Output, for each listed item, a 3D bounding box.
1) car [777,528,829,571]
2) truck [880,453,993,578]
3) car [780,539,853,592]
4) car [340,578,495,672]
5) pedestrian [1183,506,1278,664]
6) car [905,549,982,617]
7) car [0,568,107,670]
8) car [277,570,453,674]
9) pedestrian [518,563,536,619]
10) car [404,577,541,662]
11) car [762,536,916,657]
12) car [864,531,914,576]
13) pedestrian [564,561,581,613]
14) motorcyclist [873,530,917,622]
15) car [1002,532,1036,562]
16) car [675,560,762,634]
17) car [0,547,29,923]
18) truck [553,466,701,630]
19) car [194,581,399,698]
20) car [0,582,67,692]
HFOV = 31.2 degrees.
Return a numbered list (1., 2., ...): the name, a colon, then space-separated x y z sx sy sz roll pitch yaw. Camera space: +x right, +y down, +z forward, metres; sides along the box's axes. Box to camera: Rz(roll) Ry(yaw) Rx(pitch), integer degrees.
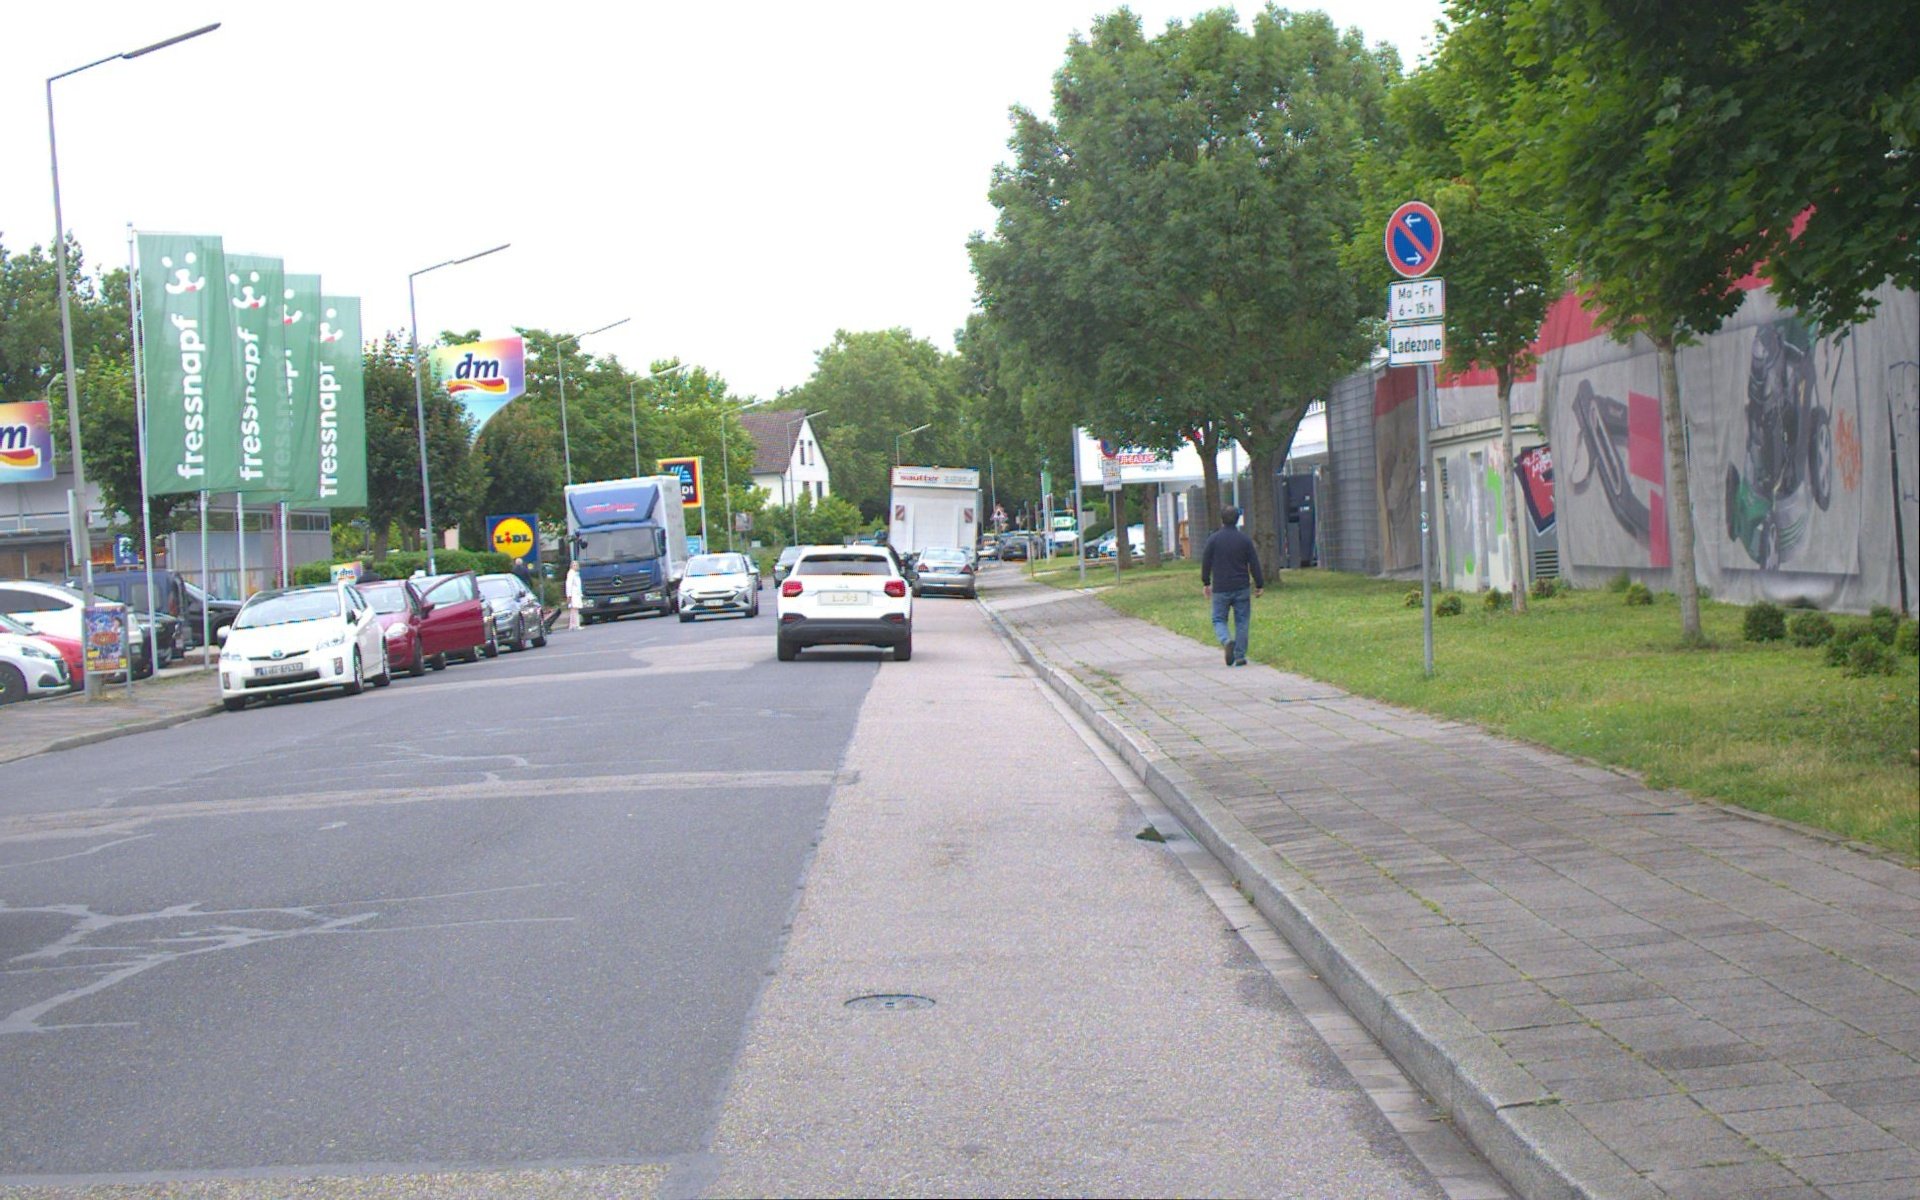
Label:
1. car: -6.375 -2.033 139.786 1.993 1.678 4.000 -2 0 -2
2. truck: -0.808 -2.496 105.171 3.135 3.572 10.051 -2 0 -2
3. car: -4.143 -1.017 100.014 1.937 1.362 4.000 -4 1 -1
4. car: -8.991 0.388 57.295 1.898 1.362 4.000 -3 1 0
5. pedestrian: 2.853 -0.158 36.343 0.919 1.629 0.852 -2 0 2
6. car: -0.480 -0.483 96.101 1.993 1.800 4.000 -2 0 -2
7. car: -15.273 0.360 52.322 4.134 1.458 1.899 -3 1 -5
8. car: -8.917 0.303 51.800 1.898 1.362 4.000 -3 1 0
9. pedestrian: -12.024 -0.263 95.551 0.401 1.526 0.485 -4 1 -6
10. car: -8.928 0.339 63.211 1.898 1.362 4.000 -3 1 0
11. car: -1.590 -0.089 46.672 1.886 1.526 4.254 -1 1 0
12. car: -2.894 -1.909 140.151 1.869 1.656 4.000 -4 1 -2
13. pedestrian: -11.661 -0.395 103.429 0.401 1.526 0.485 -4 1 -6
14. motorcyclist: -1.115 -0.413 59.073 0.625 1.548 0.604 -3 1 2
15. car: 3.427 -3.073 200.157 1.886 1.677 4.254 -1 1 0
16. car: -5.433 -0.079 77.792 1.599 1.523 3.528 -5 1 0
17. car: -5.147 0.648 12.857 1.933 1.678 4.495 -4 1 1
18. truck: -8.736 -1.386 90.802 2.973 3.942 6.405 -5 1 0
19. car: -8.661 0.483 45.168 1.898 1.362 4.000 -2 1 0
20. car: -14.617 0.556 47.409 4.202 1.458 1.953 -2 1 -8
